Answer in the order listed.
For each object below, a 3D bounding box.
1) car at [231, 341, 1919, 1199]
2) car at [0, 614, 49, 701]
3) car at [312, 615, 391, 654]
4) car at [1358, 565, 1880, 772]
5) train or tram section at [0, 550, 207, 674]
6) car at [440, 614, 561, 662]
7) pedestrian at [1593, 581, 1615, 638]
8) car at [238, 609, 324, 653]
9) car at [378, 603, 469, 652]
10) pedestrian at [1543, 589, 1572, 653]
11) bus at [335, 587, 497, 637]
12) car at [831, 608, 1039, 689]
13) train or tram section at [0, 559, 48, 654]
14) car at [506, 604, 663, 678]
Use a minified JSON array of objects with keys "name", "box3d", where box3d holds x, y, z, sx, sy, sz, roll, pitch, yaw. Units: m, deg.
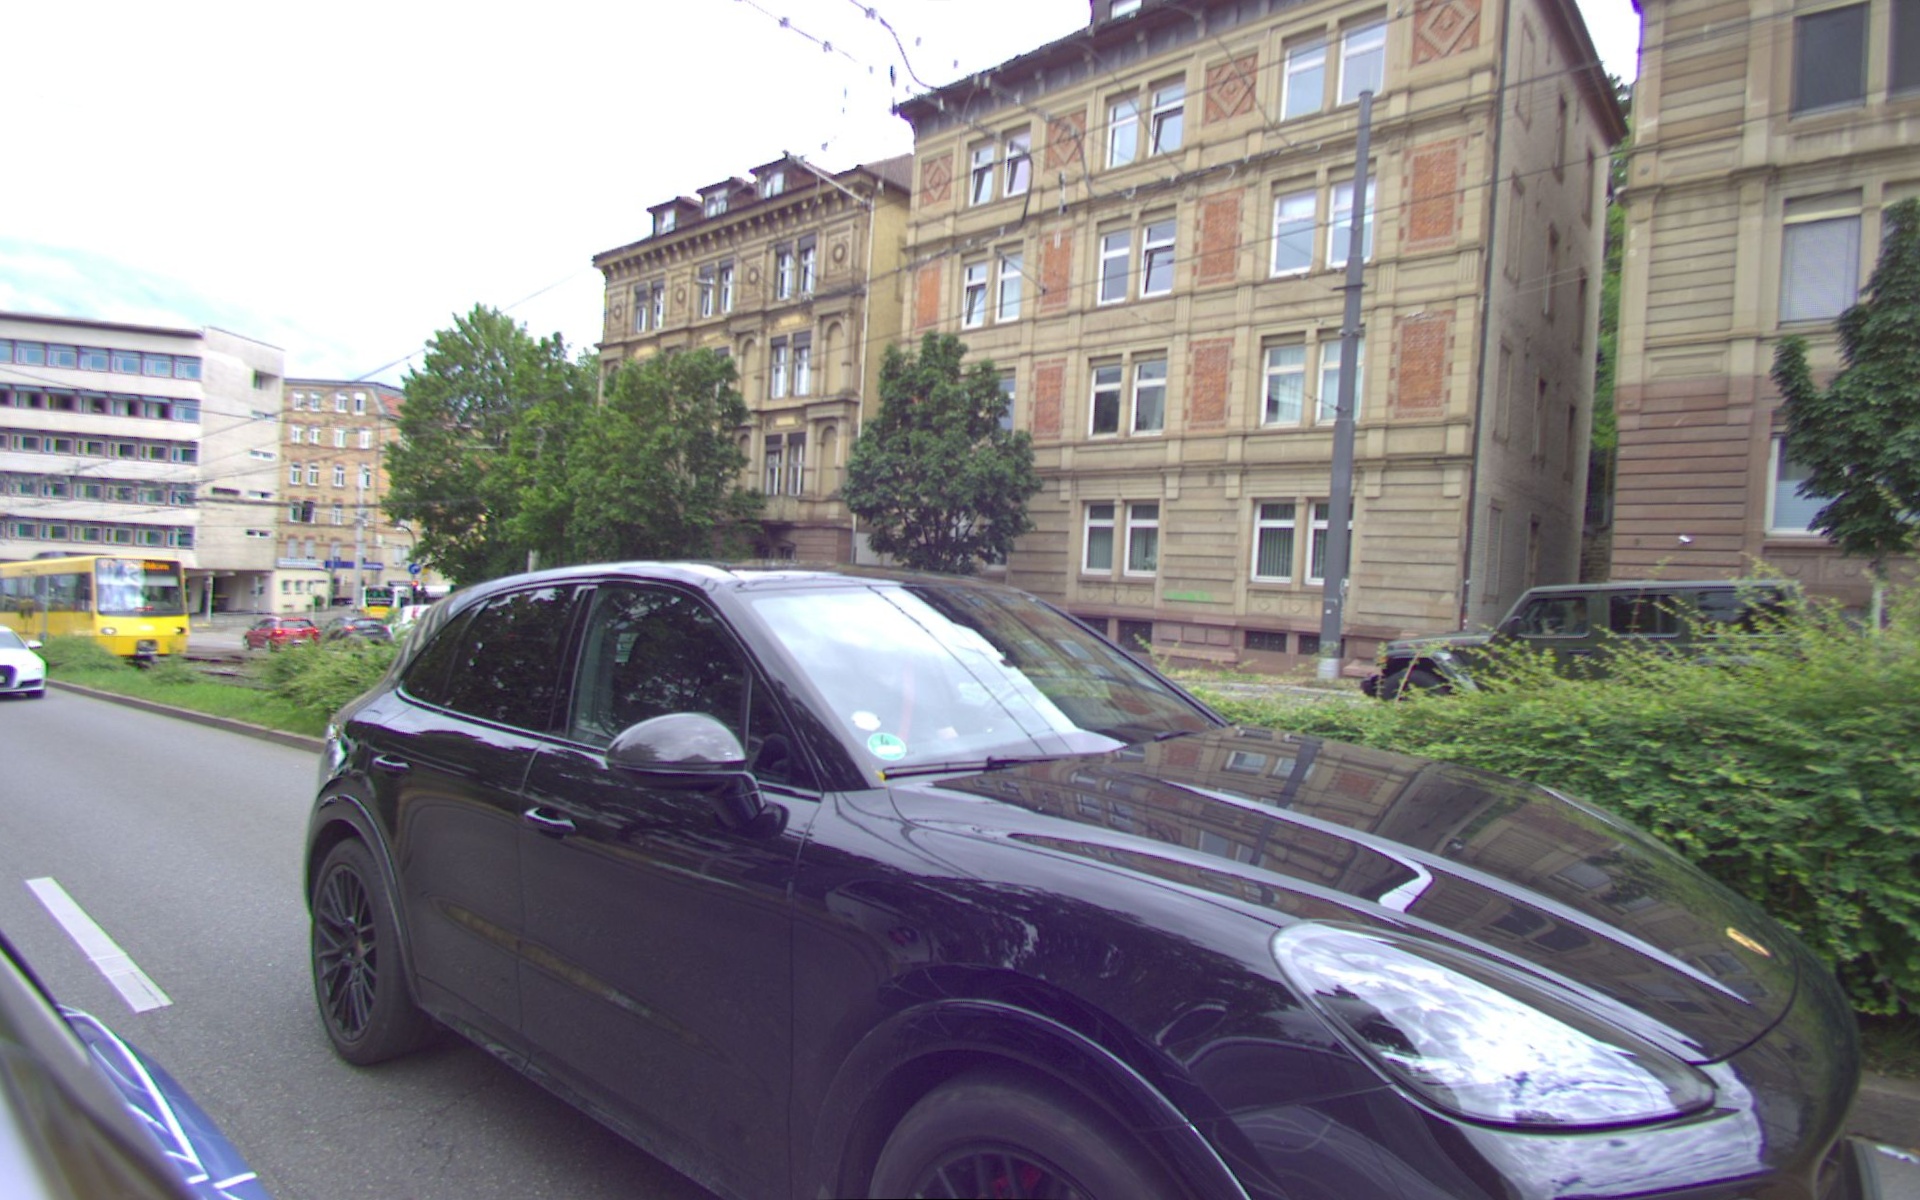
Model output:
[{"name":"car","box3d":[-0.217,0.636,2.909,4.779,1.697,2.006,1,0,41]},{"name":"car","box3d":[-19.646,1.096,20.059,4.530,1.486,1.872,1,2,42]},{"name":"car","box3d":[-25.808,1.418,42.873,4.405,1.437,1.724,1,1,42]},{"name":"car","box3d":[7.177,0.648,11.427,4.638,1.890,1.880,0,-2,40]},{"name":"train or tram section","box3d":[-31.054,0.269,35.072,14.427,3.691,2.860,1,1,32]},{"name":"car","box3d":[-15.539,1.294,34.123,4.943,1.461,1.800,-3,-2,41]},{"name":"pedestrian","box3d":[20.043,0.298,31.503,0.492,1.752,0.511,-1,-3,40]},{"name":"car","box3d":[-27.743,1.245,41.302,4.408,1.530,1.971,3,-1,44]},{"name":"car","box3d":[-23.794,1.141,44.790,4.991,1.863,1.973,2,2,42]},{"name":"pedestrian","box3d":[15.796,0.555,26.740,0.559,1.665,0.615,-1,-3,40]},{"name":"bus","box3d":[-36.072,0.730,67.880,3.351,3.052,11.517,0,0,9]},{"name":"car","box3d":[-0.623,0.989,21.779,4.436,1.566,1.845,-2,-2,42]},{"name":"train or tram section","box3d":[-43.507,0.199,41.986,14.141,3.691,2.868,0,1,24]},{"name":"car","box3d":[-9.967,1.066,26.716,4.513,1.801,1.860,-1,-3,40]}]
